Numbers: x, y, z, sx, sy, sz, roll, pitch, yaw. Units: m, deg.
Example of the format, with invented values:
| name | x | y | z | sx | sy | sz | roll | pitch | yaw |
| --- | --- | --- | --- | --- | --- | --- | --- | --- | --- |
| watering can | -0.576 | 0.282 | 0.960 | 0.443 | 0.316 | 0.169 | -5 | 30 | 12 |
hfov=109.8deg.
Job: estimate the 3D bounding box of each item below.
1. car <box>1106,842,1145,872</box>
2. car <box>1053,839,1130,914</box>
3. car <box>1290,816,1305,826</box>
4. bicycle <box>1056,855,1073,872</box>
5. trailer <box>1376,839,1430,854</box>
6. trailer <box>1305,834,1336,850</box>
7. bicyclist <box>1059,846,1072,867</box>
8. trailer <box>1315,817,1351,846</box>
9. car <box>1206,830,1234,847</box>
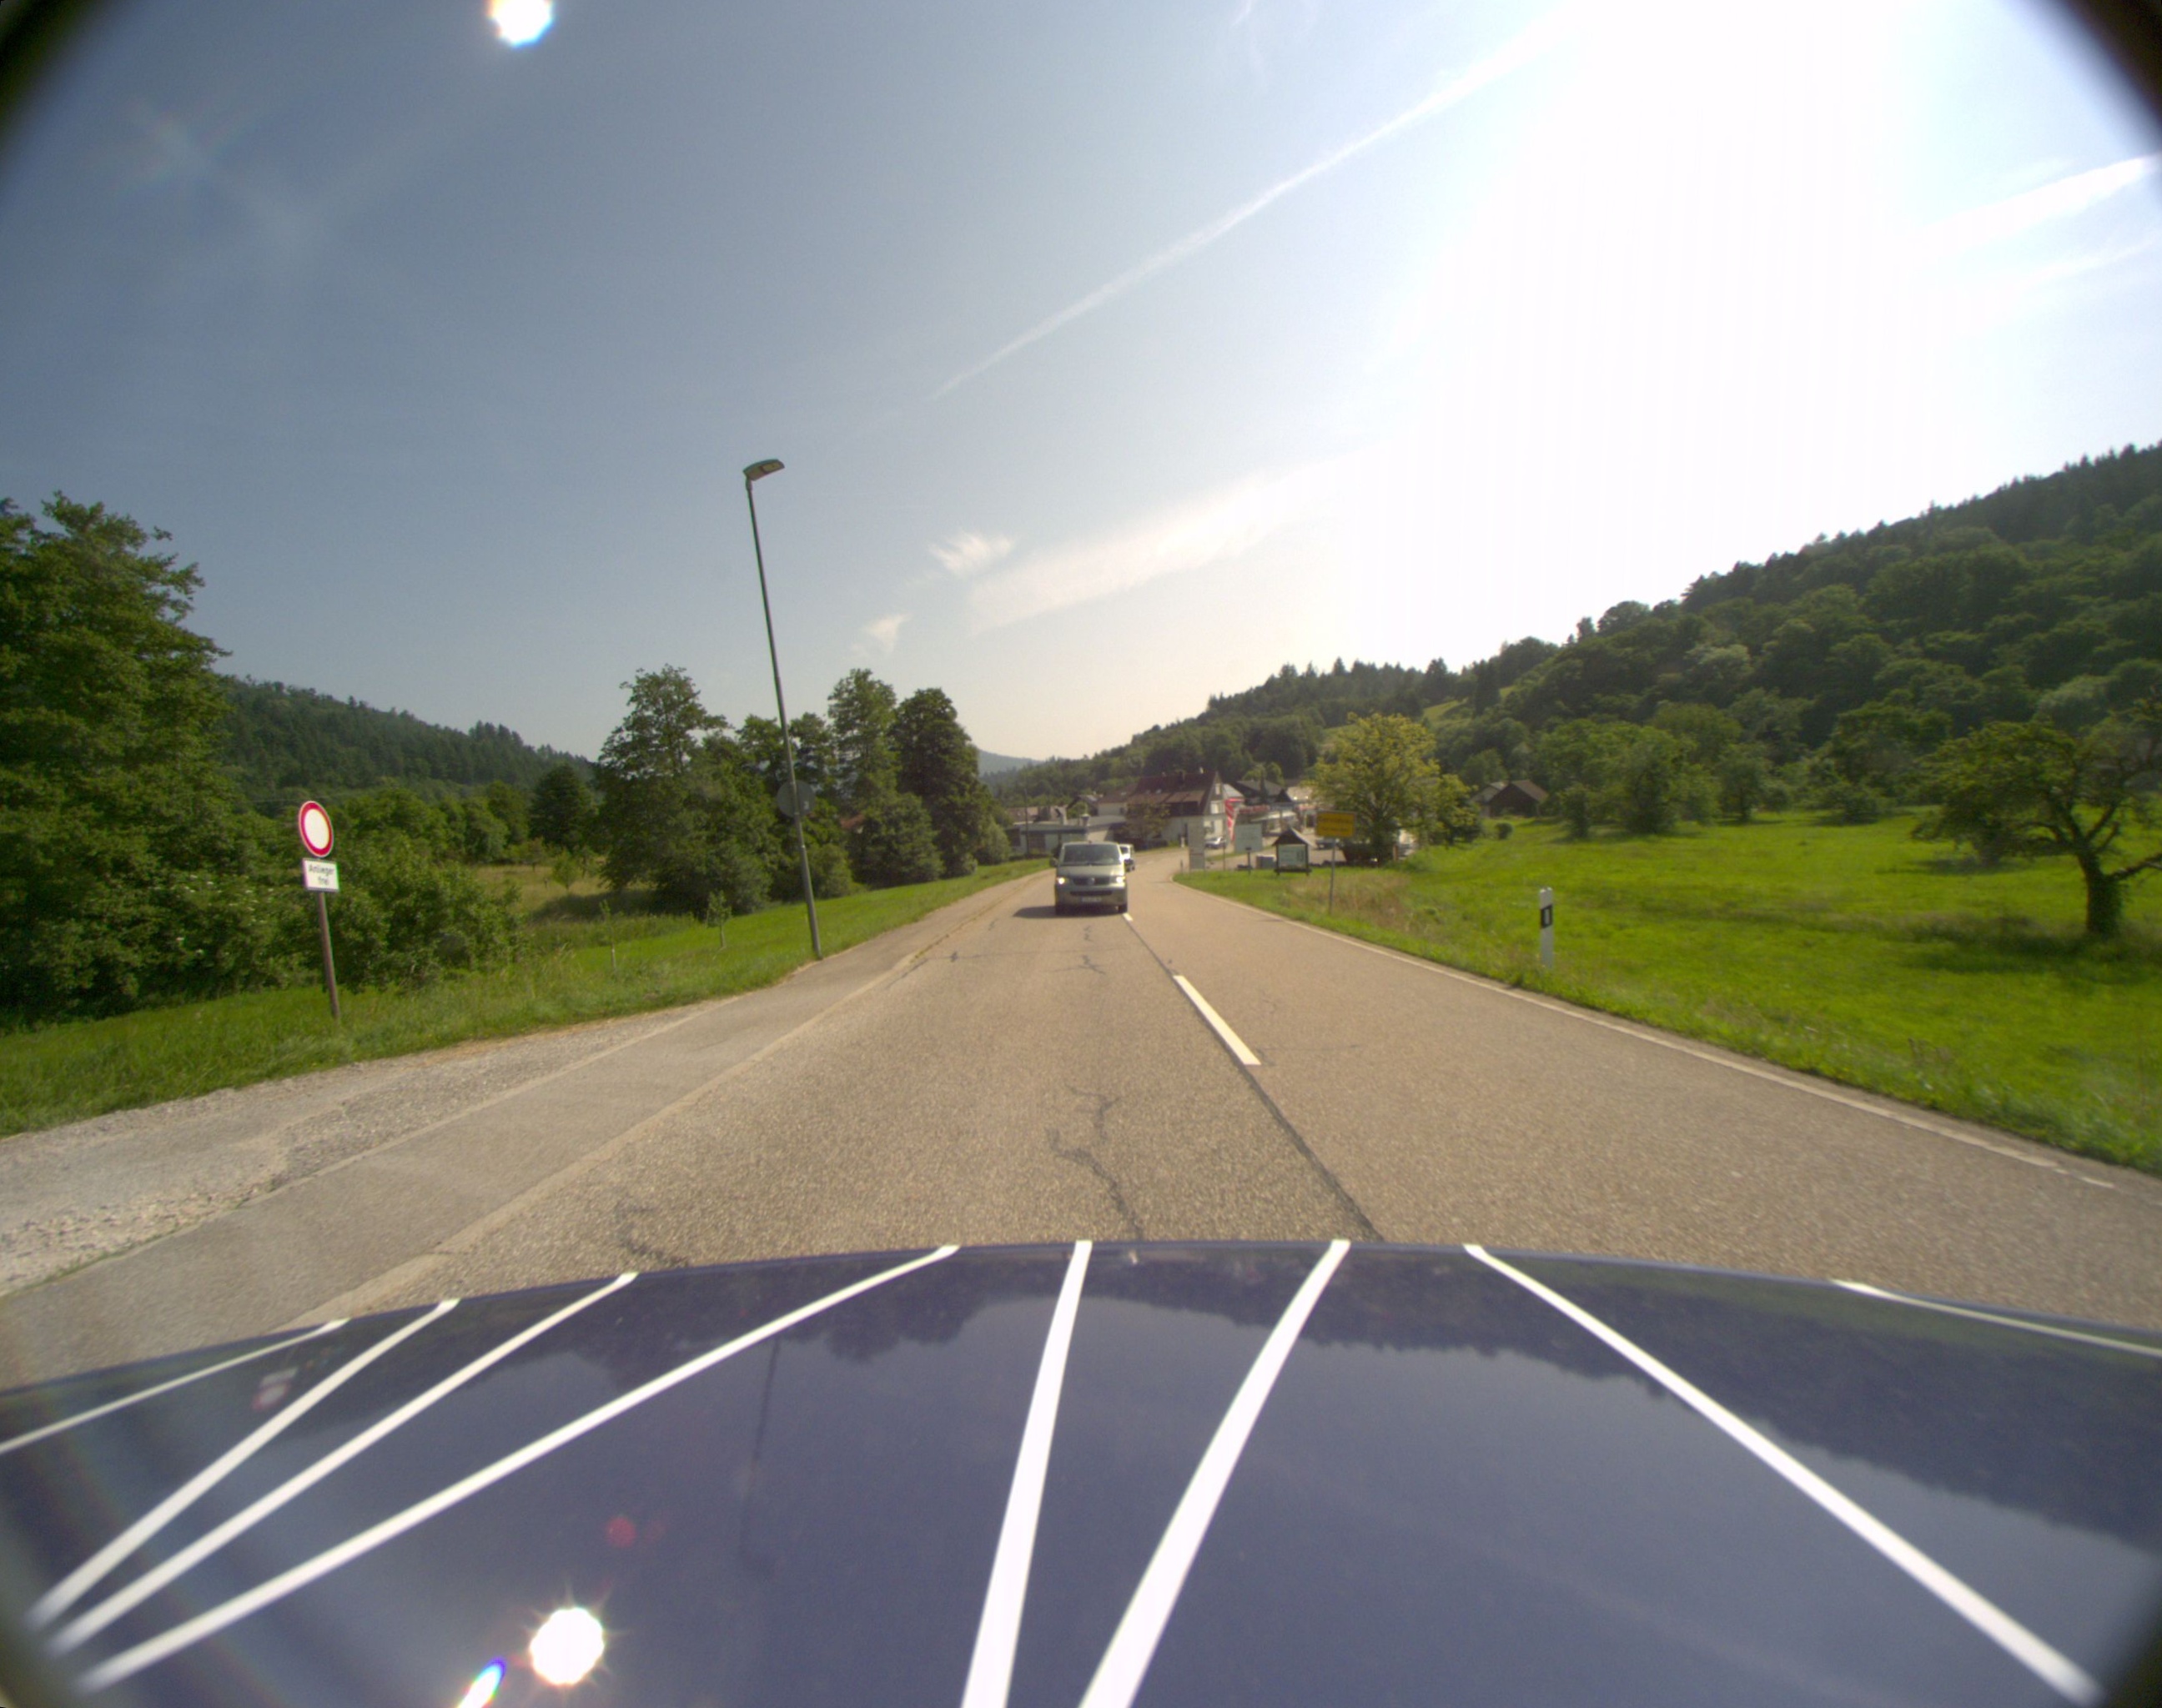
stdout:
| name | x | y | z | sx | sy | sz | roll | pitch | yaw |
| --- | --- | --- | --- | --- | --- | --- | --- | --- | --- |
| car | 3.283 | 0.156 | 54.979 | 1.894 | 1.847 | 4.705 | -2 | 3 | 14 |
| car | 0.270 | 0.640 | 22.770 | 2.024 | 1.970 | 5.049 | 1 | -1 | 0 |
| car | 44.216 | -6.760 | 154.995 | 1.681 | 1.806 | 4.005 | -3 | 4 | 34 |
| bicycle | -1.128 | 0.616 | 52.489 | 0.580 | 1.029 | 1.992 | 2 | 3 | 15 |
| trailer | 27.249 | -0.633 | 64.265 | 3.935 | 0.934 | 1.870 | -2 | 4 | 32 |
| trailer | 25.128 | -1.268 | 79.552 | 1.995 | 1.220 | 5.553 | -2 | 3 | 30 |
| bicyclist | -1.090 | 0.159 | 52.386 | 0.580 | 1.335 | 1.146 | 2 | 4 | 15 |
| trailer | 27.951 | -2.511 | 84.124 | 3.394 | 2.896 | 1.886 | -3 | 3 | 27 |
| car | 16.871 | -1.881 | 92.210 | 1.764 | 1.737 | 3.985 | -2 | 5 | 34 |
